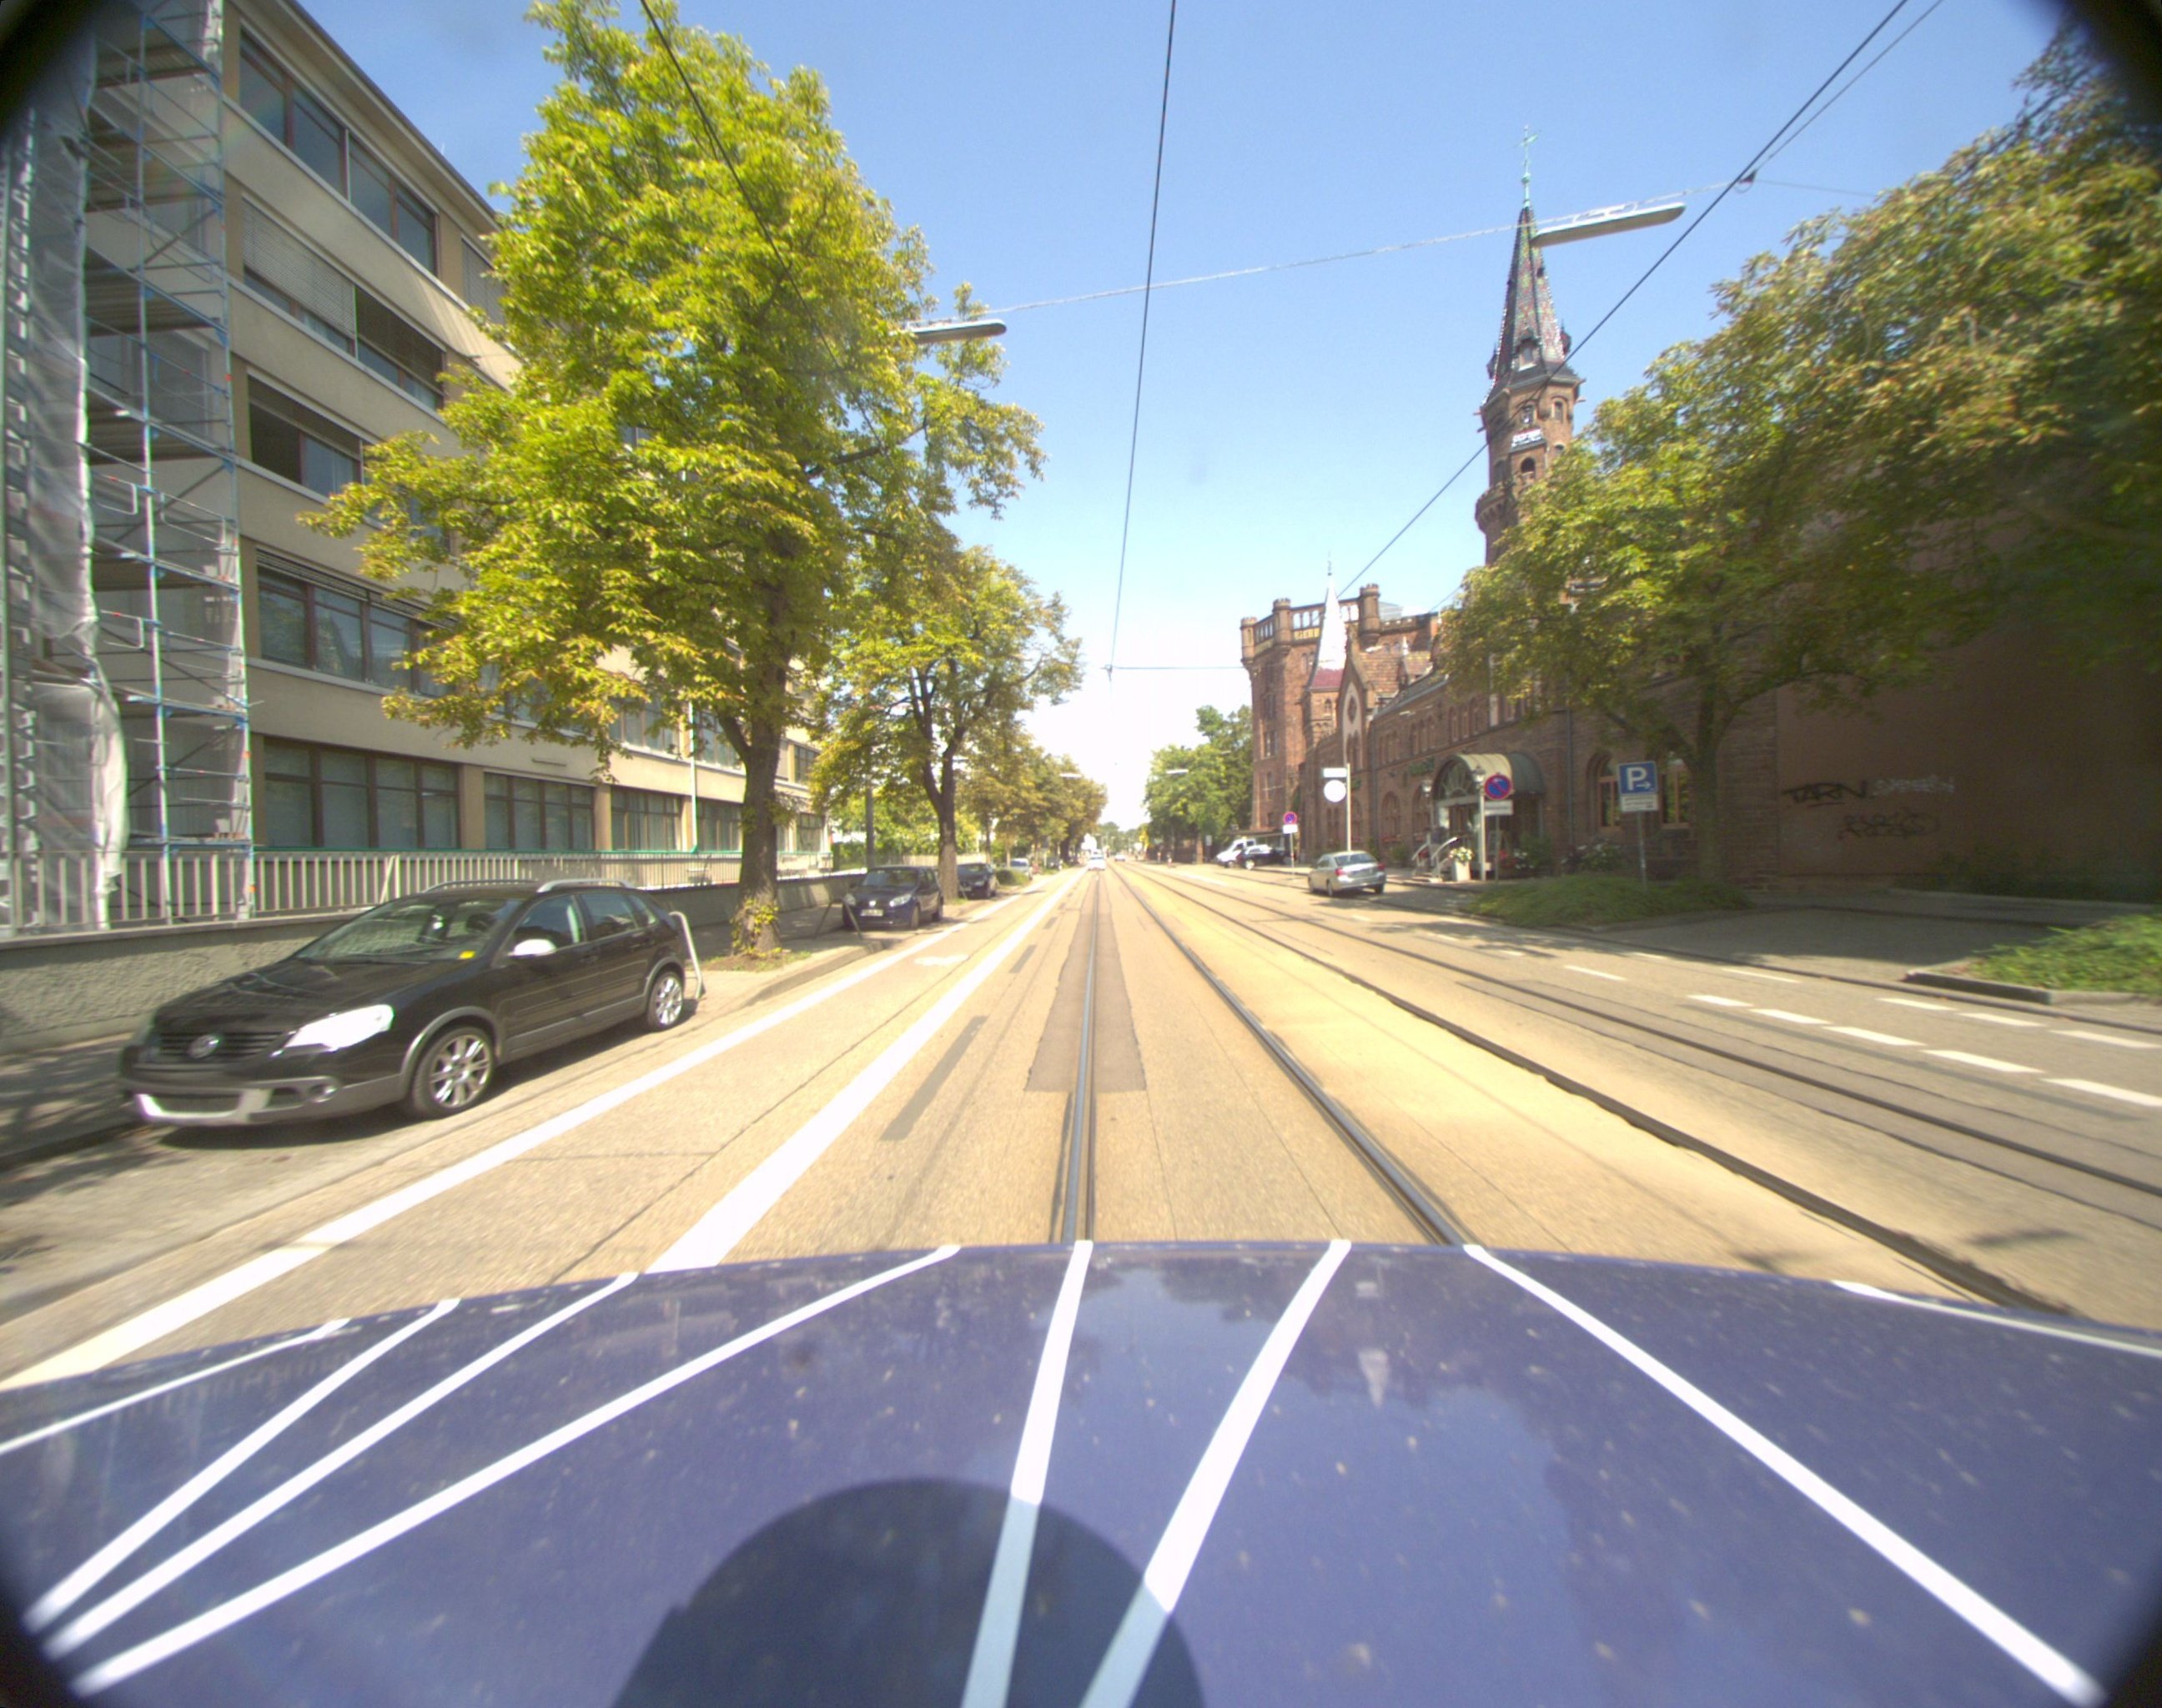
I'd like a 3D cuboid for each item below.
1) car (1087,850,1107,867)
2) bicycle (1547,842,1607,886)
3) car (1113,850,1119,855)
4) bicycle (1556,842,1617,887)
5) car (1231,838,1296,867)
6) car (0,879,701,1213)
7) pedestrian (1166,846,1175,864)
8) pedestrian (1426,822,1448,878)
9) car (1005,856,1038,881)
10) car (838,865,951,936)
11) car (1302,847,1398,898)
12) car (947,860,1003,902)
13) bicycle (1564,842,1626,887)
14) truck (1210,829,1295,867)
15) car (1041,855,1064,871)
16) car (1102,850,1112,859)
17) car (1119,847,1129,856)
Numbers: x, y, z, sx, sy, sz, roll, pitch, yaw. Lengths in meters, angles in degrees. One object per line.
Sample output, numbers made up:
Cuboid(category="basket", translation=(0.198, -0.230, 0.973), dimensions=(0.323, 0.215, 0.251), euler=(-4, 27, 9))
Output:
Cuboid(category="car", translation=(1.582, 0.422, 74.073), dimensions=(1.824, 1.483, 4.019), euler=(-1, 1, 2))
Cuboid(category="bicycle", translation=(13.946, 0.282, 21.360), dimensions=(1.449, 1.056, 0.377), euler=(-7, 2, -8))
Cuboid(category="car", translation=(11.813, -0.593, 256.029), dimensions=(1.798, 1.501, 4.000), euler=(-2, 0, 2))
Cuboid(category="bicycle", translation=(13.987, 0.284, 21.030), dimensions=(1.449, 1.056, 0.377), euler=(-7, 2, -8))
Cuboid(category="car", translation=(13.979, -0.121, 58.395), dimensions=(4.407, 1.787, 2.000), euler=(-6, 0, 4))
Cuboid(category="car", translation=(-4.939, 1.087, 5.991), dimensions=(1.689, 1.561, 4.000), euler=(-2, 0, 2))
Cuboid(category="pedestrian", translation=(9.183, 0.113, 78.065), dimensions=(0.736, 1.837, 0.828), euler=(-2, 1, 2))
Cuboid(category="pedestrian", translation=(12.618, -0.136, 26.926), dimensions=(0.520, 1.969, 0.504), euler=(-3, 2, -43))
Cuboid(category="car", translation=(-3.827, 0.896, 49.420), dimensions=(1.642, 1.464, 3.878), euler=(-2, 0, 3))
Cuboid(category="car", translation=(-4.525, 1.066, 19.023), dimensions=(1.645, 1.561, 4.084), euler=(0, 0, 3))
Cuboid(category="car", translation=(9.237, 0.567, 26.483), dimensions=(1.939, 1.493, 4.515), euler=(-4, 0, 4))
Cuboid(category="car", translation=(-4.179, 1.033, 30.542), dimensions=(1.642, 1.464, 3.993), euler=(1, 1, 1))
Cuboid(category="bicycle", translation=(14.025, 0.286, 20.737), dimensions=(1.449, 1.056, 0.377), euler=(-7, 2, -8))
Cuboid(category="truck", translation=(14.506, -0.512, 64.458), dimensions=(6.510, 2.510, 2.317), euler=(-6, 0, 2))
Cuboid(category="car", translation=(-2.952, 0.908, 79.611), dimensions=(1.998, 1.521, 4.000), euler=(-2, 0, 2))
Cuboid(category="car", translation=(4.352, 0.058, 128.292), dimensions=(1.677, 1.477, 3.778), euler=(-1, 1, 2))
Cuboid(category="car", translation=(8.823, -0.565, 157.583), dimensions=(1.998, 1.783, 4.000), euler=(-2, 0, 2))
